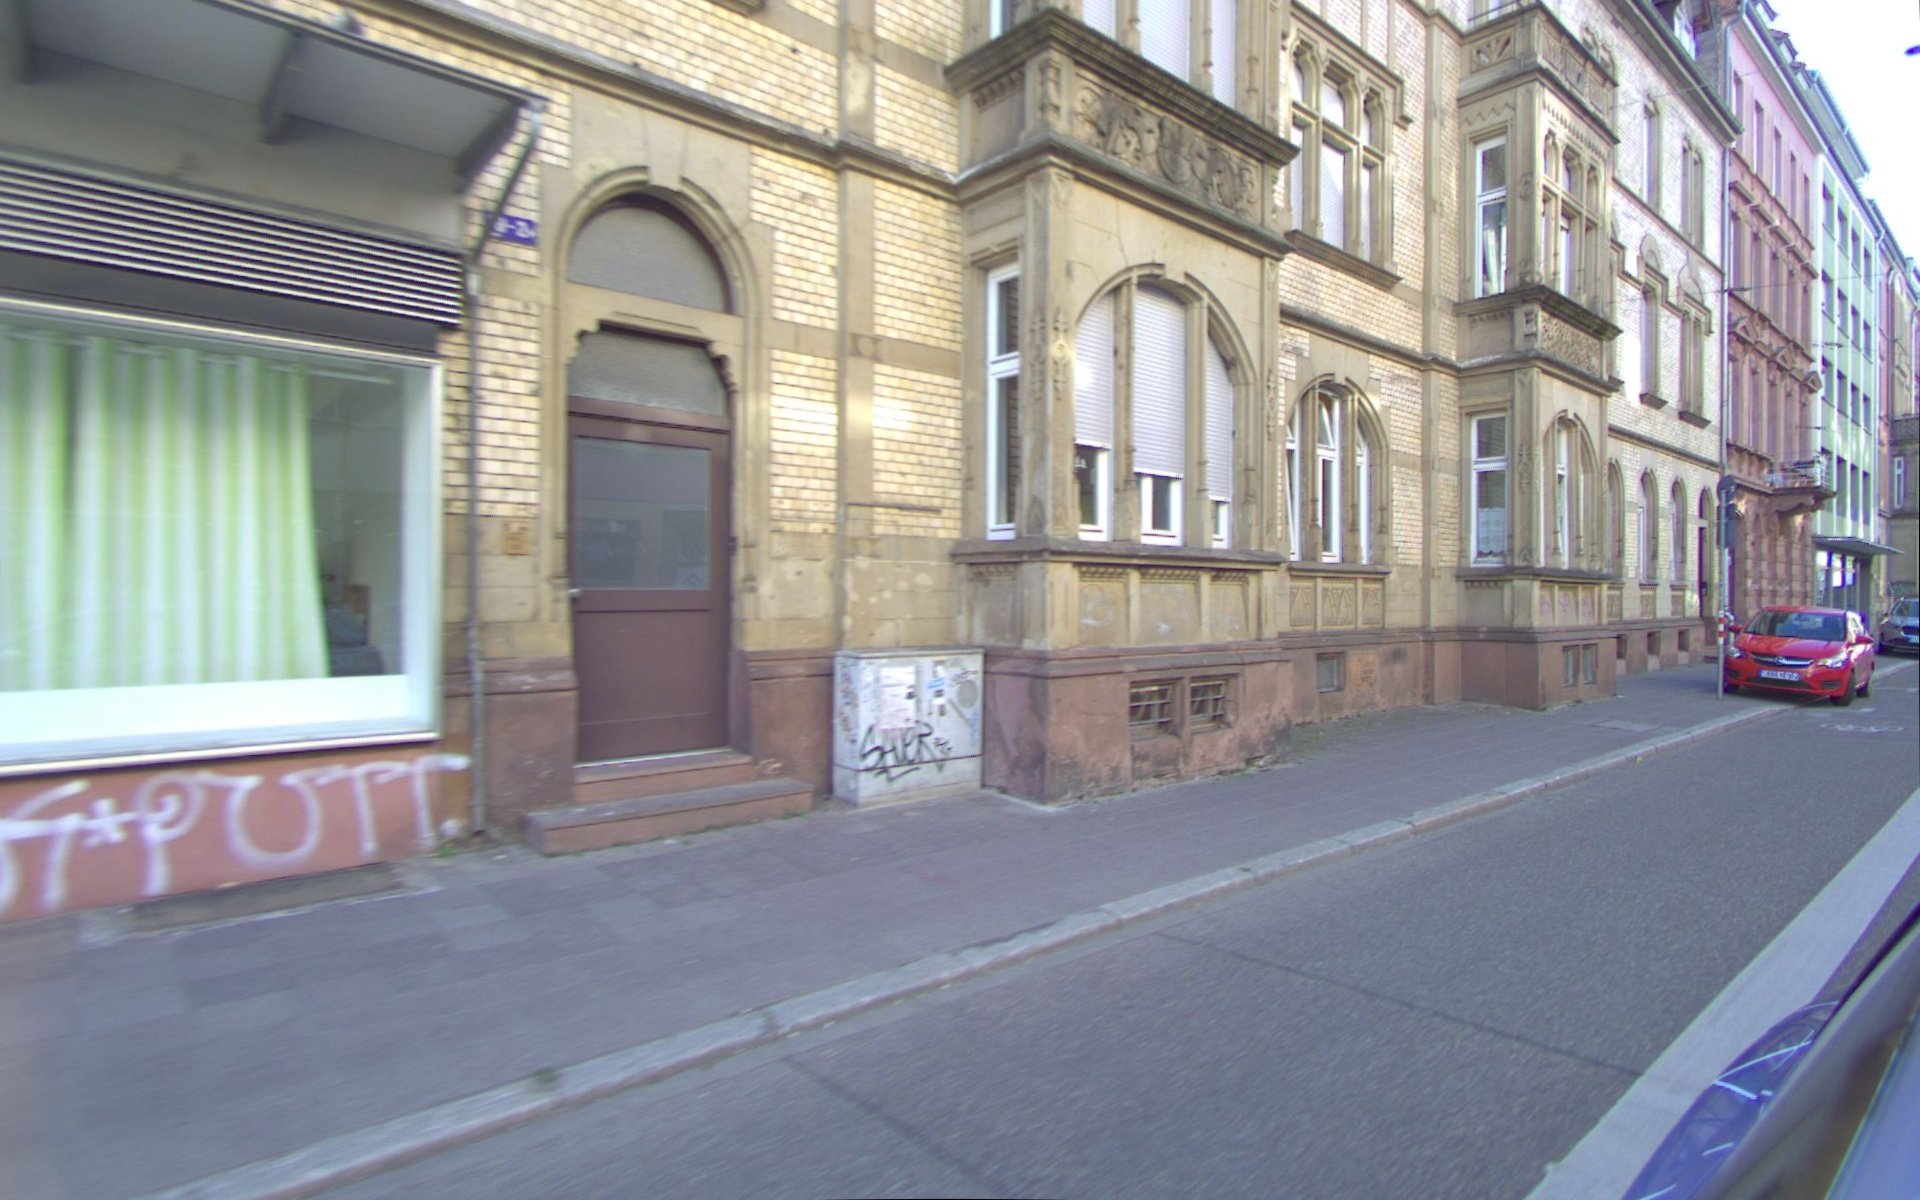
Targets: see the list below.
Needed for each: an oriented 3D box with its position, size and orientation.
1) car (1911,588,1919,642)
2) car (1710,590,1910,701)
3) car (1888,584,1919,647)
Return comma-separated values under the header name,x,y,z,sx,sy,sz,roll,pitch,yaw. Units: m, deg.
name,x,y,z,sx,sy,sz,roll,pitch,yaw
car,31.730,0.500,31.929,4.703,1.635,1.998,-1,4,-41
car,14.269,0.648,16.910,4.325,1.500,1.870,-1,4,-41
car,27.504,0.426,28.433,1.867,1.666,4.330,5,4,45
